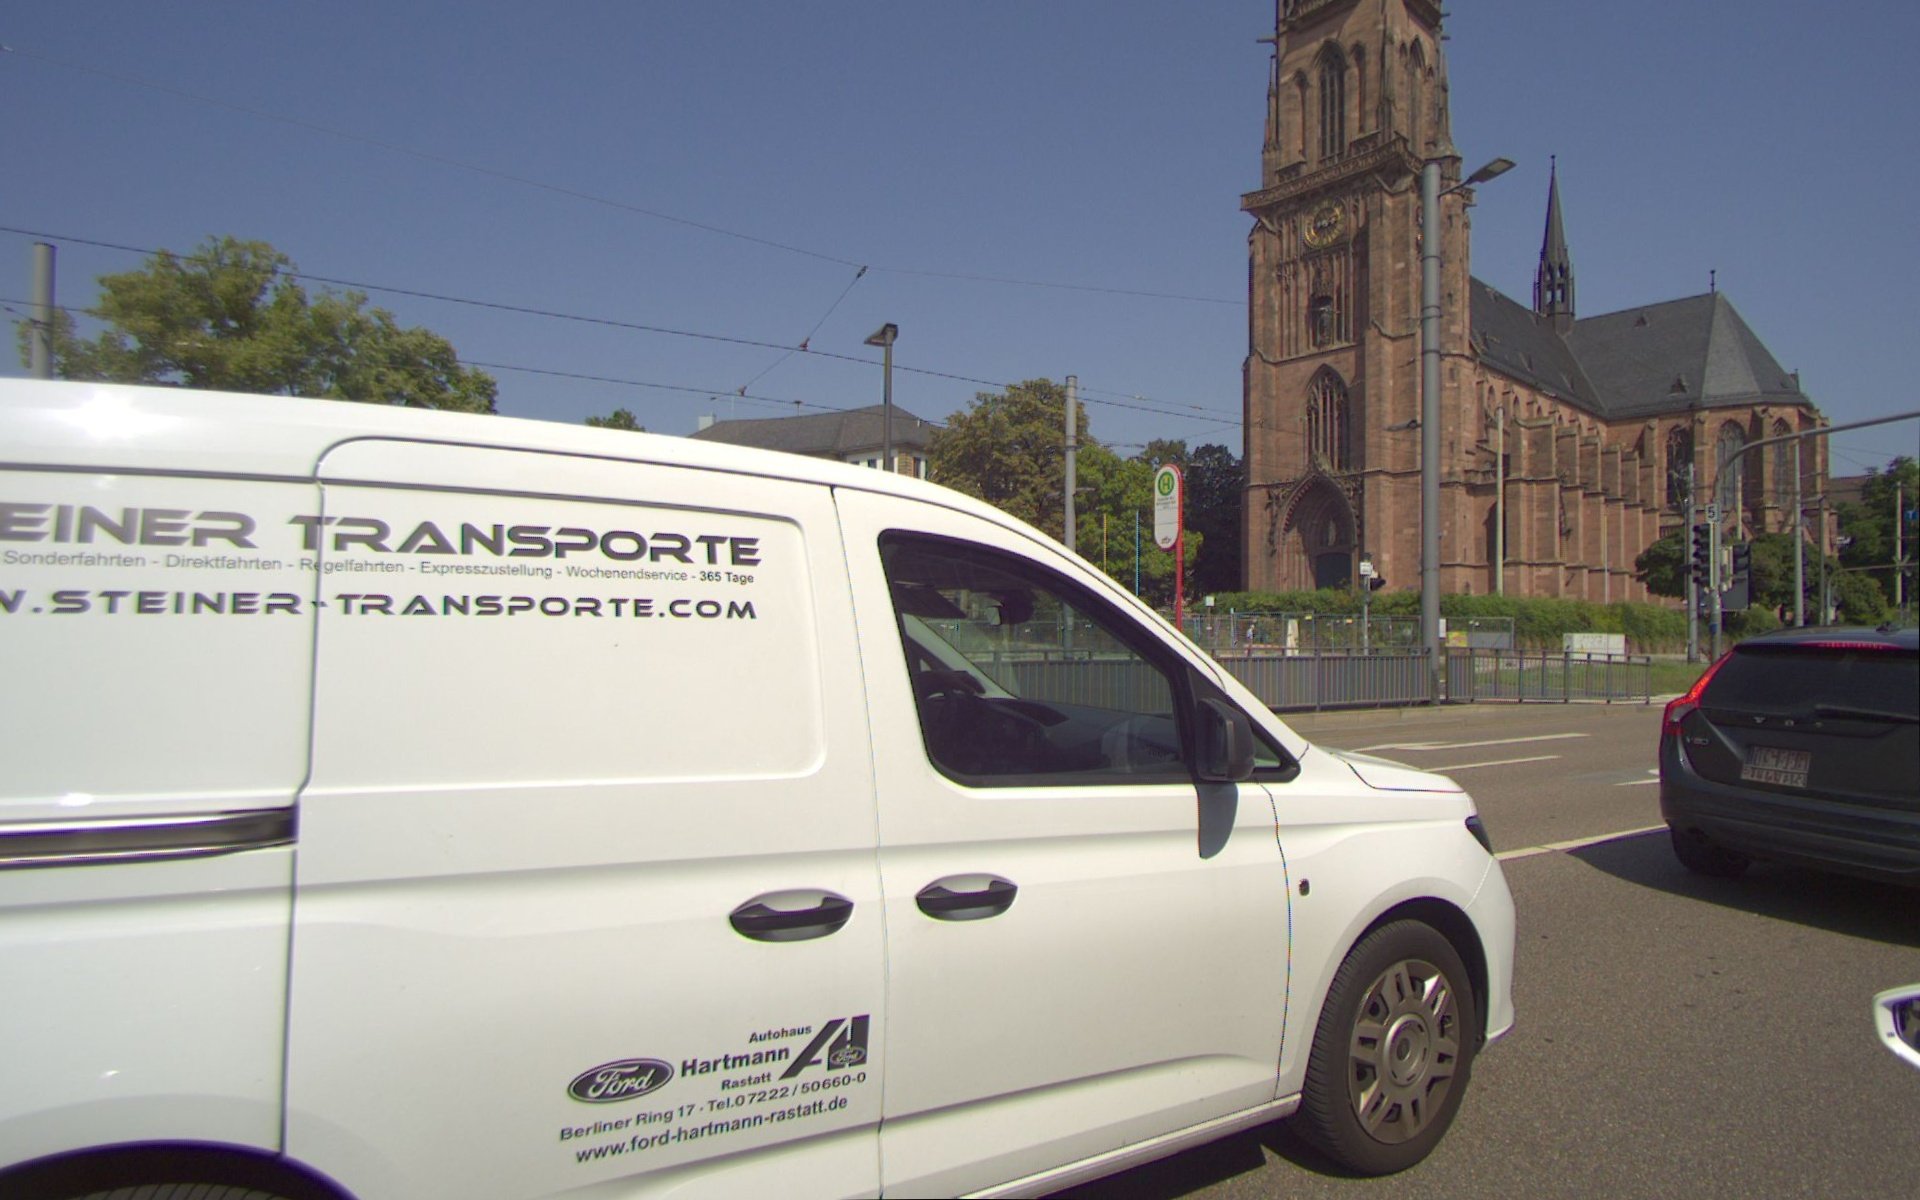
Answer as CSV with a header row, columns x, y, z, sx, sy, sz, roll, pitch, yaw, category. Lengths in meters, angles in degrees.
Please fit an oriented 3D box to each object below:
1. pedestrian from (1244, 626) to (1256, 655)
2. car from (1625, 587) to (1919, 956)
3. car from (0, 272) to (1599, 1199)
x,y,z,sx,sy,sz,roll,pitch,yaw,category
15.199,2.115,52.574,0.533,1.551,0.436,0,-1,5,pedestrian
5.920,0.795,5.827,4.257,1.636,1.739,1,0,-30,car
-0.322,0.557,2.713,4.189,1.844,1.739,1,-1,-30,car
